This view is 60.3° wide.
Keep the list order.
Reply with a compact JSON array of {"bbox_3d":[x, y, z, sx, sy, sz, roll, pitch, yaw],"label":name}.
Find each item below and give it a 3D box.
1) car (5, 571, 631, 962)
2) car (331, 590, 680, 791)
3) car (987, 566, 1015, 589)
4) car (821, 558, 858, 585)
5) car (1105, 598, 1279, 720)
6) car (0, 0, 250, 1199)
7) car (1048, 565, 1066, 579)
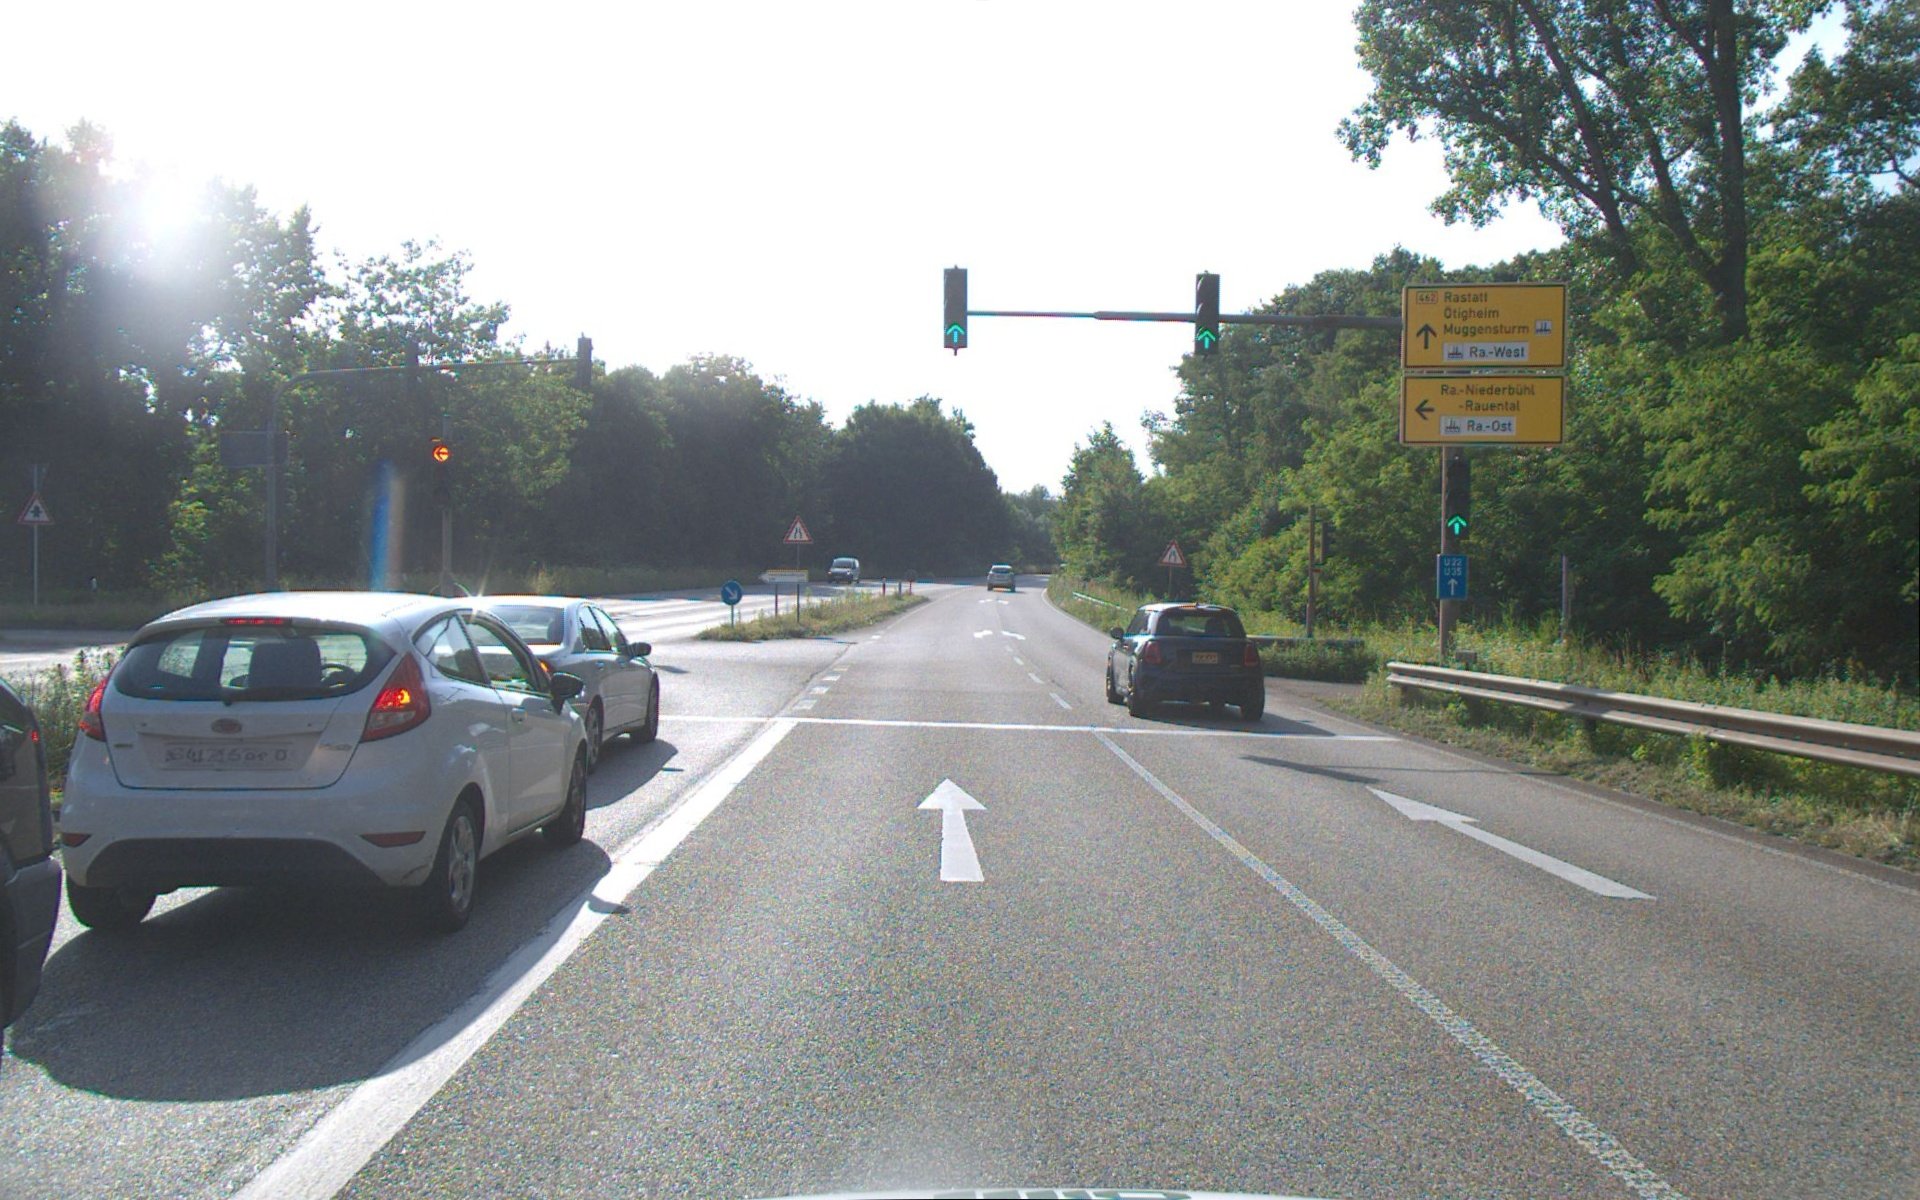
[{"bbox_3d":[-2.903,0.637,8.485,1.612,1.515,4.104,0,0,0],"label":"car"},{"bbox_3d":[-3.683,0.641,14.329,1.699,1.446,4.802,0,0,0],"label":"car"},{"bbox_3d":[2.759,-1.517,111.403,1.724,1.404,3.973,2,0,3],"label":"car"},{"bbox_3d":[-8.691,-2.015,119.390,1.811,1.817,4.673,2,0,6],"label":"car"},{"bbox_3d":[3.046,0.726,22.412,1.782,1.493,3.872,1,0,0],"label":"car"},{"bbox_3d":[-3.320,0.024,1.449,2.164,2.939,7.013,0,0,2],"label":"car"},{"bbox_3d":[11.148,-3.202,190.253,1.709,1.564,3.924,2,0,-2],"label":"car"}]
